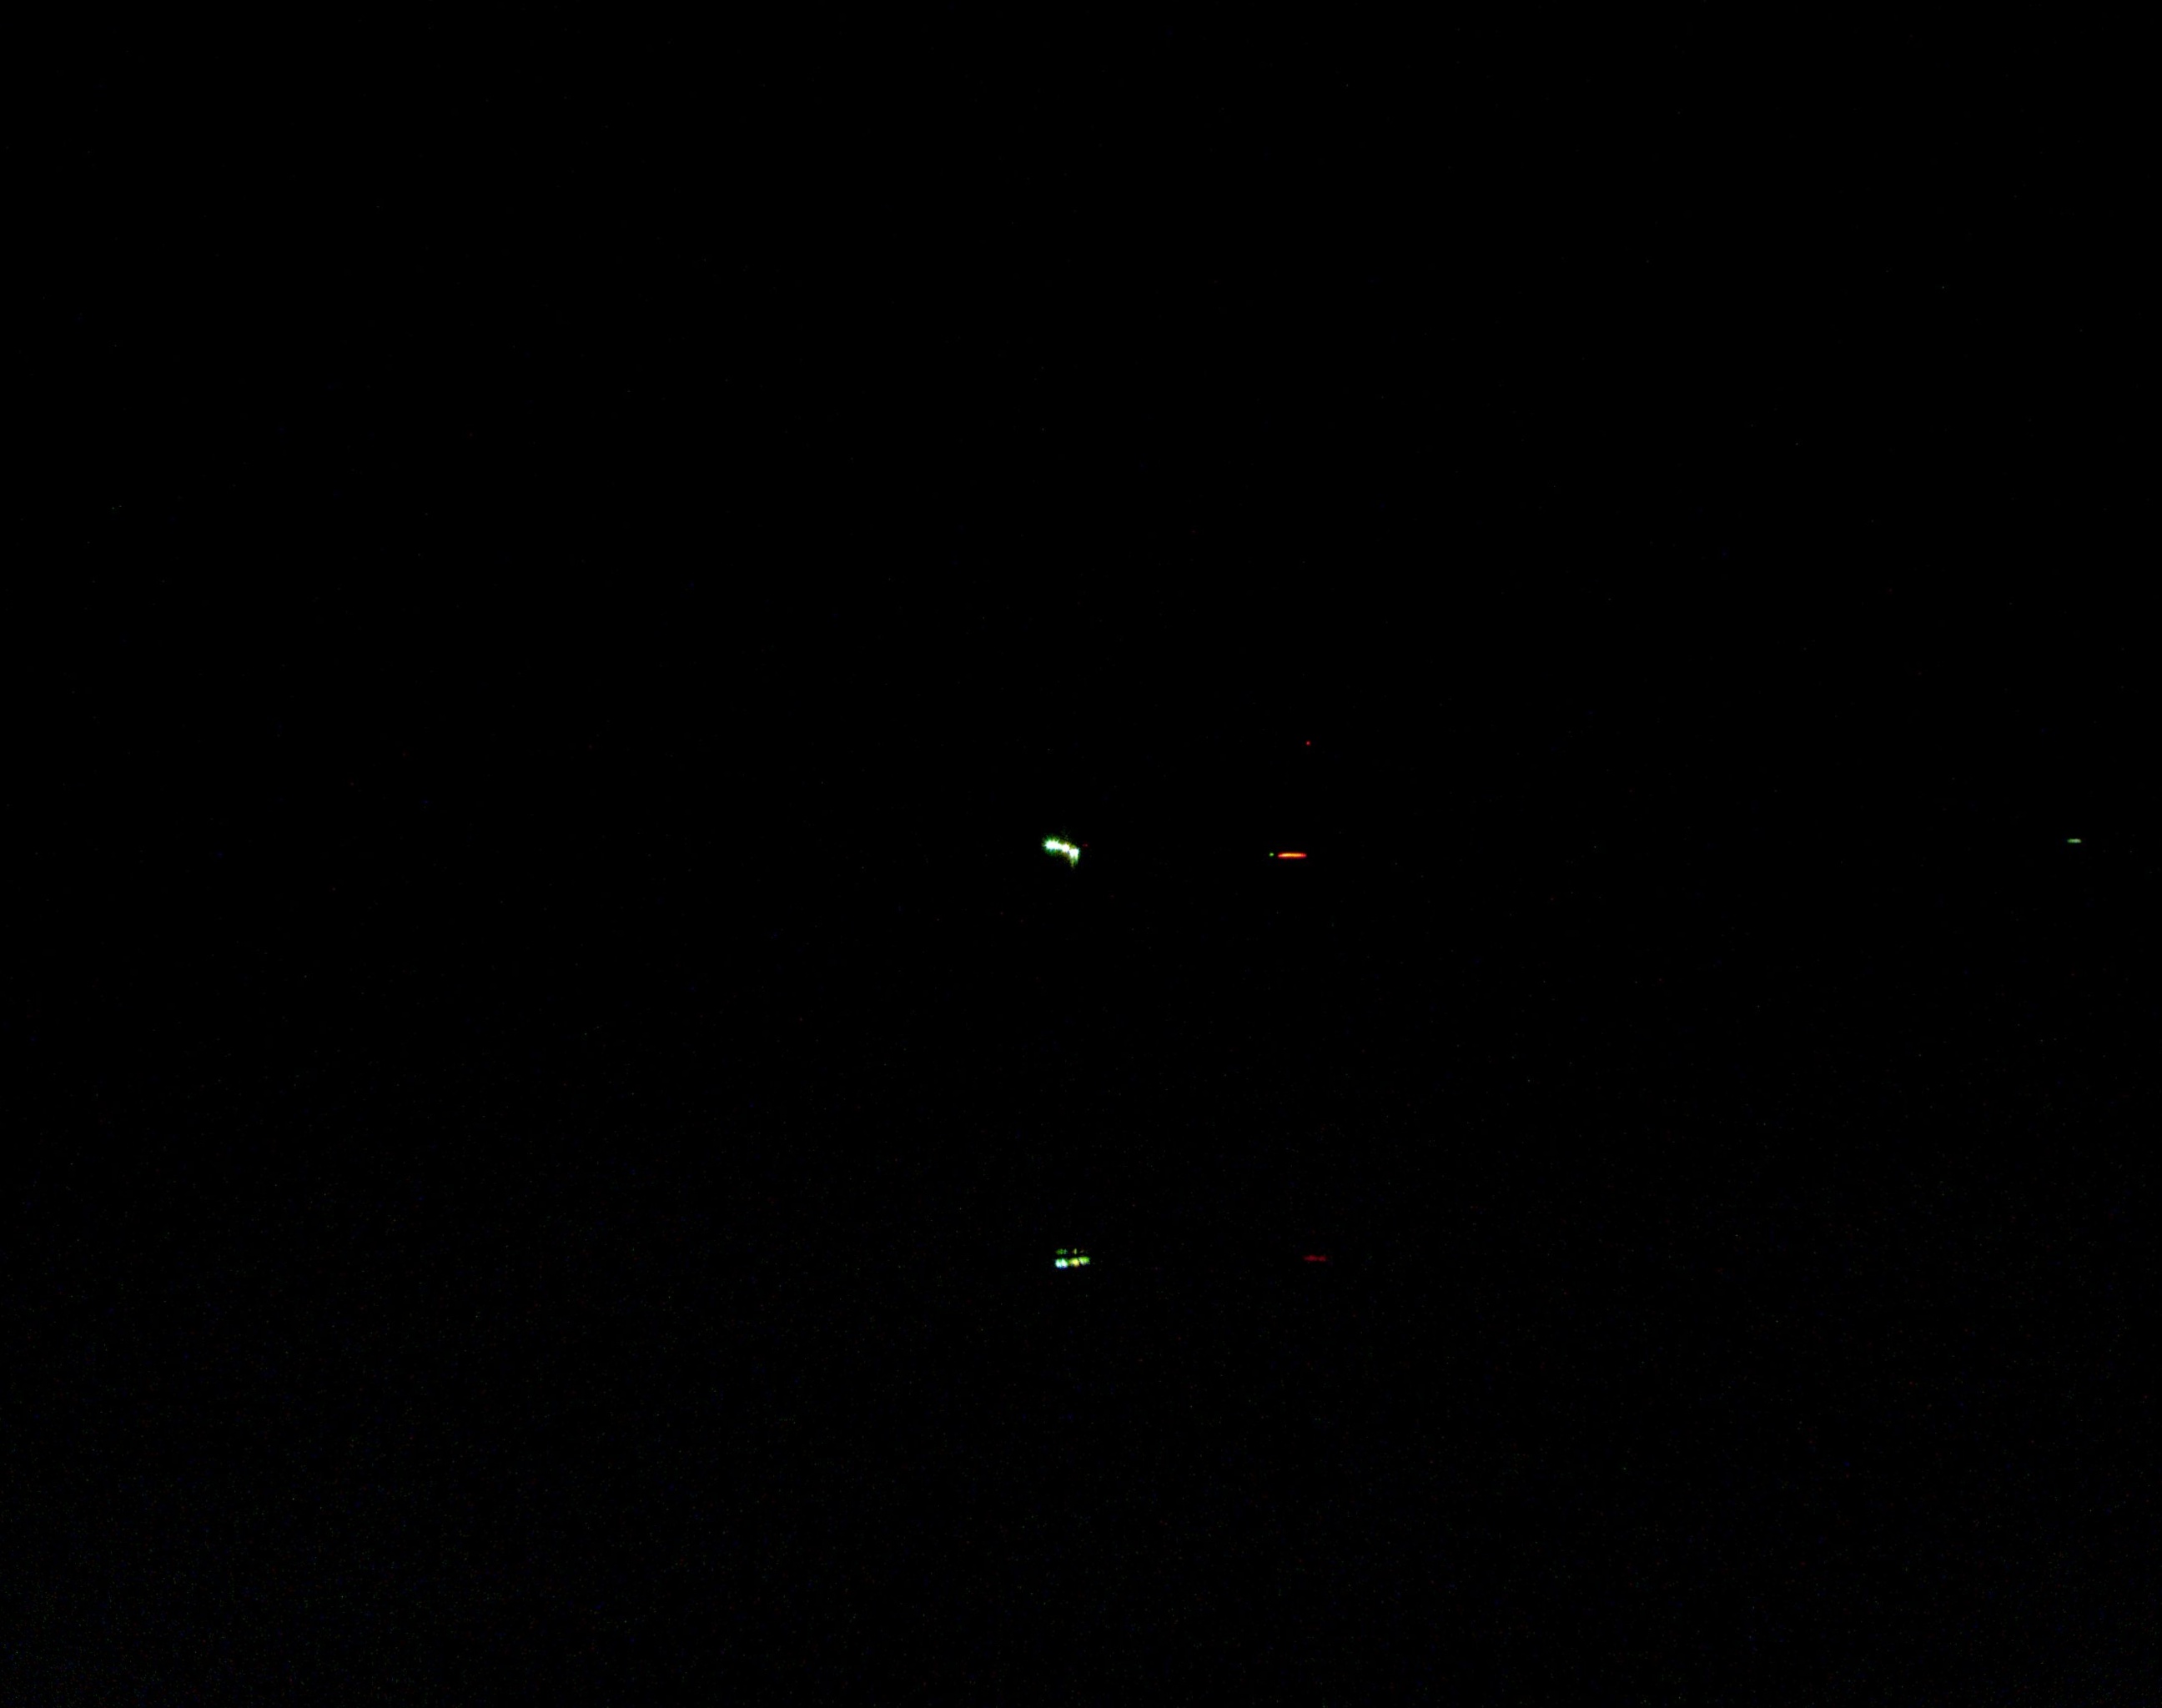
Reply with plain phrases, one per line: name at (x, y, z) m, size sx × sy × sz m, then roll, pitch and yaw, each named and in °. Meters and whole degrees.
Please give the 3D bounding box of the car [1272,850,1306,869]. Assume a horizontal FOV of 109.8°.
car at (20.372, 0.539, 74.751) m, size 1.998 × 1.735 × 5.071 m, roll -1°, pitch 0°, yaw 1°
